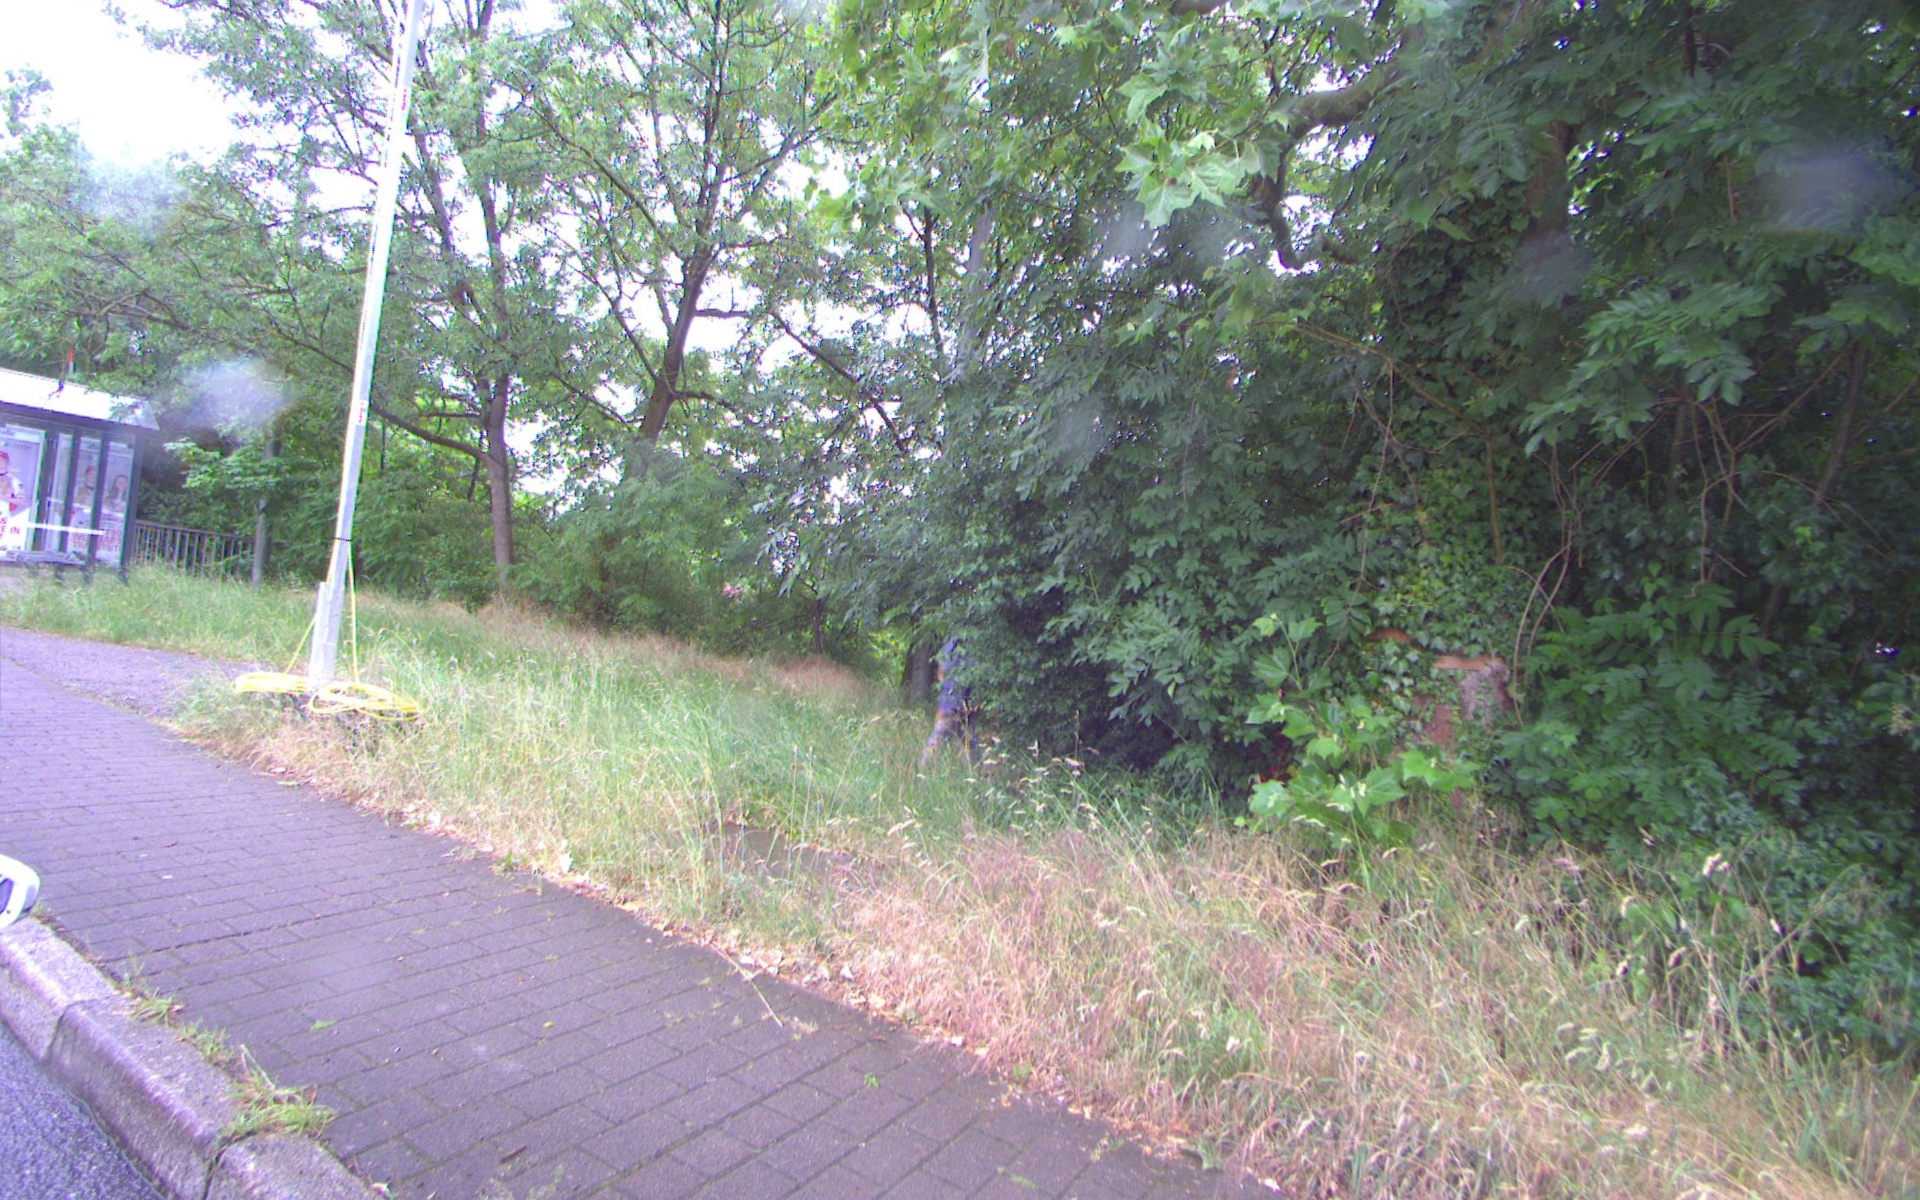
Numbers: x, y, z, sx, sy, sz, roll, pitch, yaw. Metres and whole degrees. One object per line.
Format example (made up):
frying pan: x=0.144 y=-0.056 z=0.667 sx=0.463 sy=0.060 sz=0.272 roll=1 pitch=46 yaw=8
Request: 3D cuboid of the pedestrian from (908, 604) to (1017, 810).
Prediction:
pedestrian: x=0.037 y=0.966 z=9.344 sx=0.655 sy=1.761 sz=0.684 roll=7 pitch=0 yaw=14
